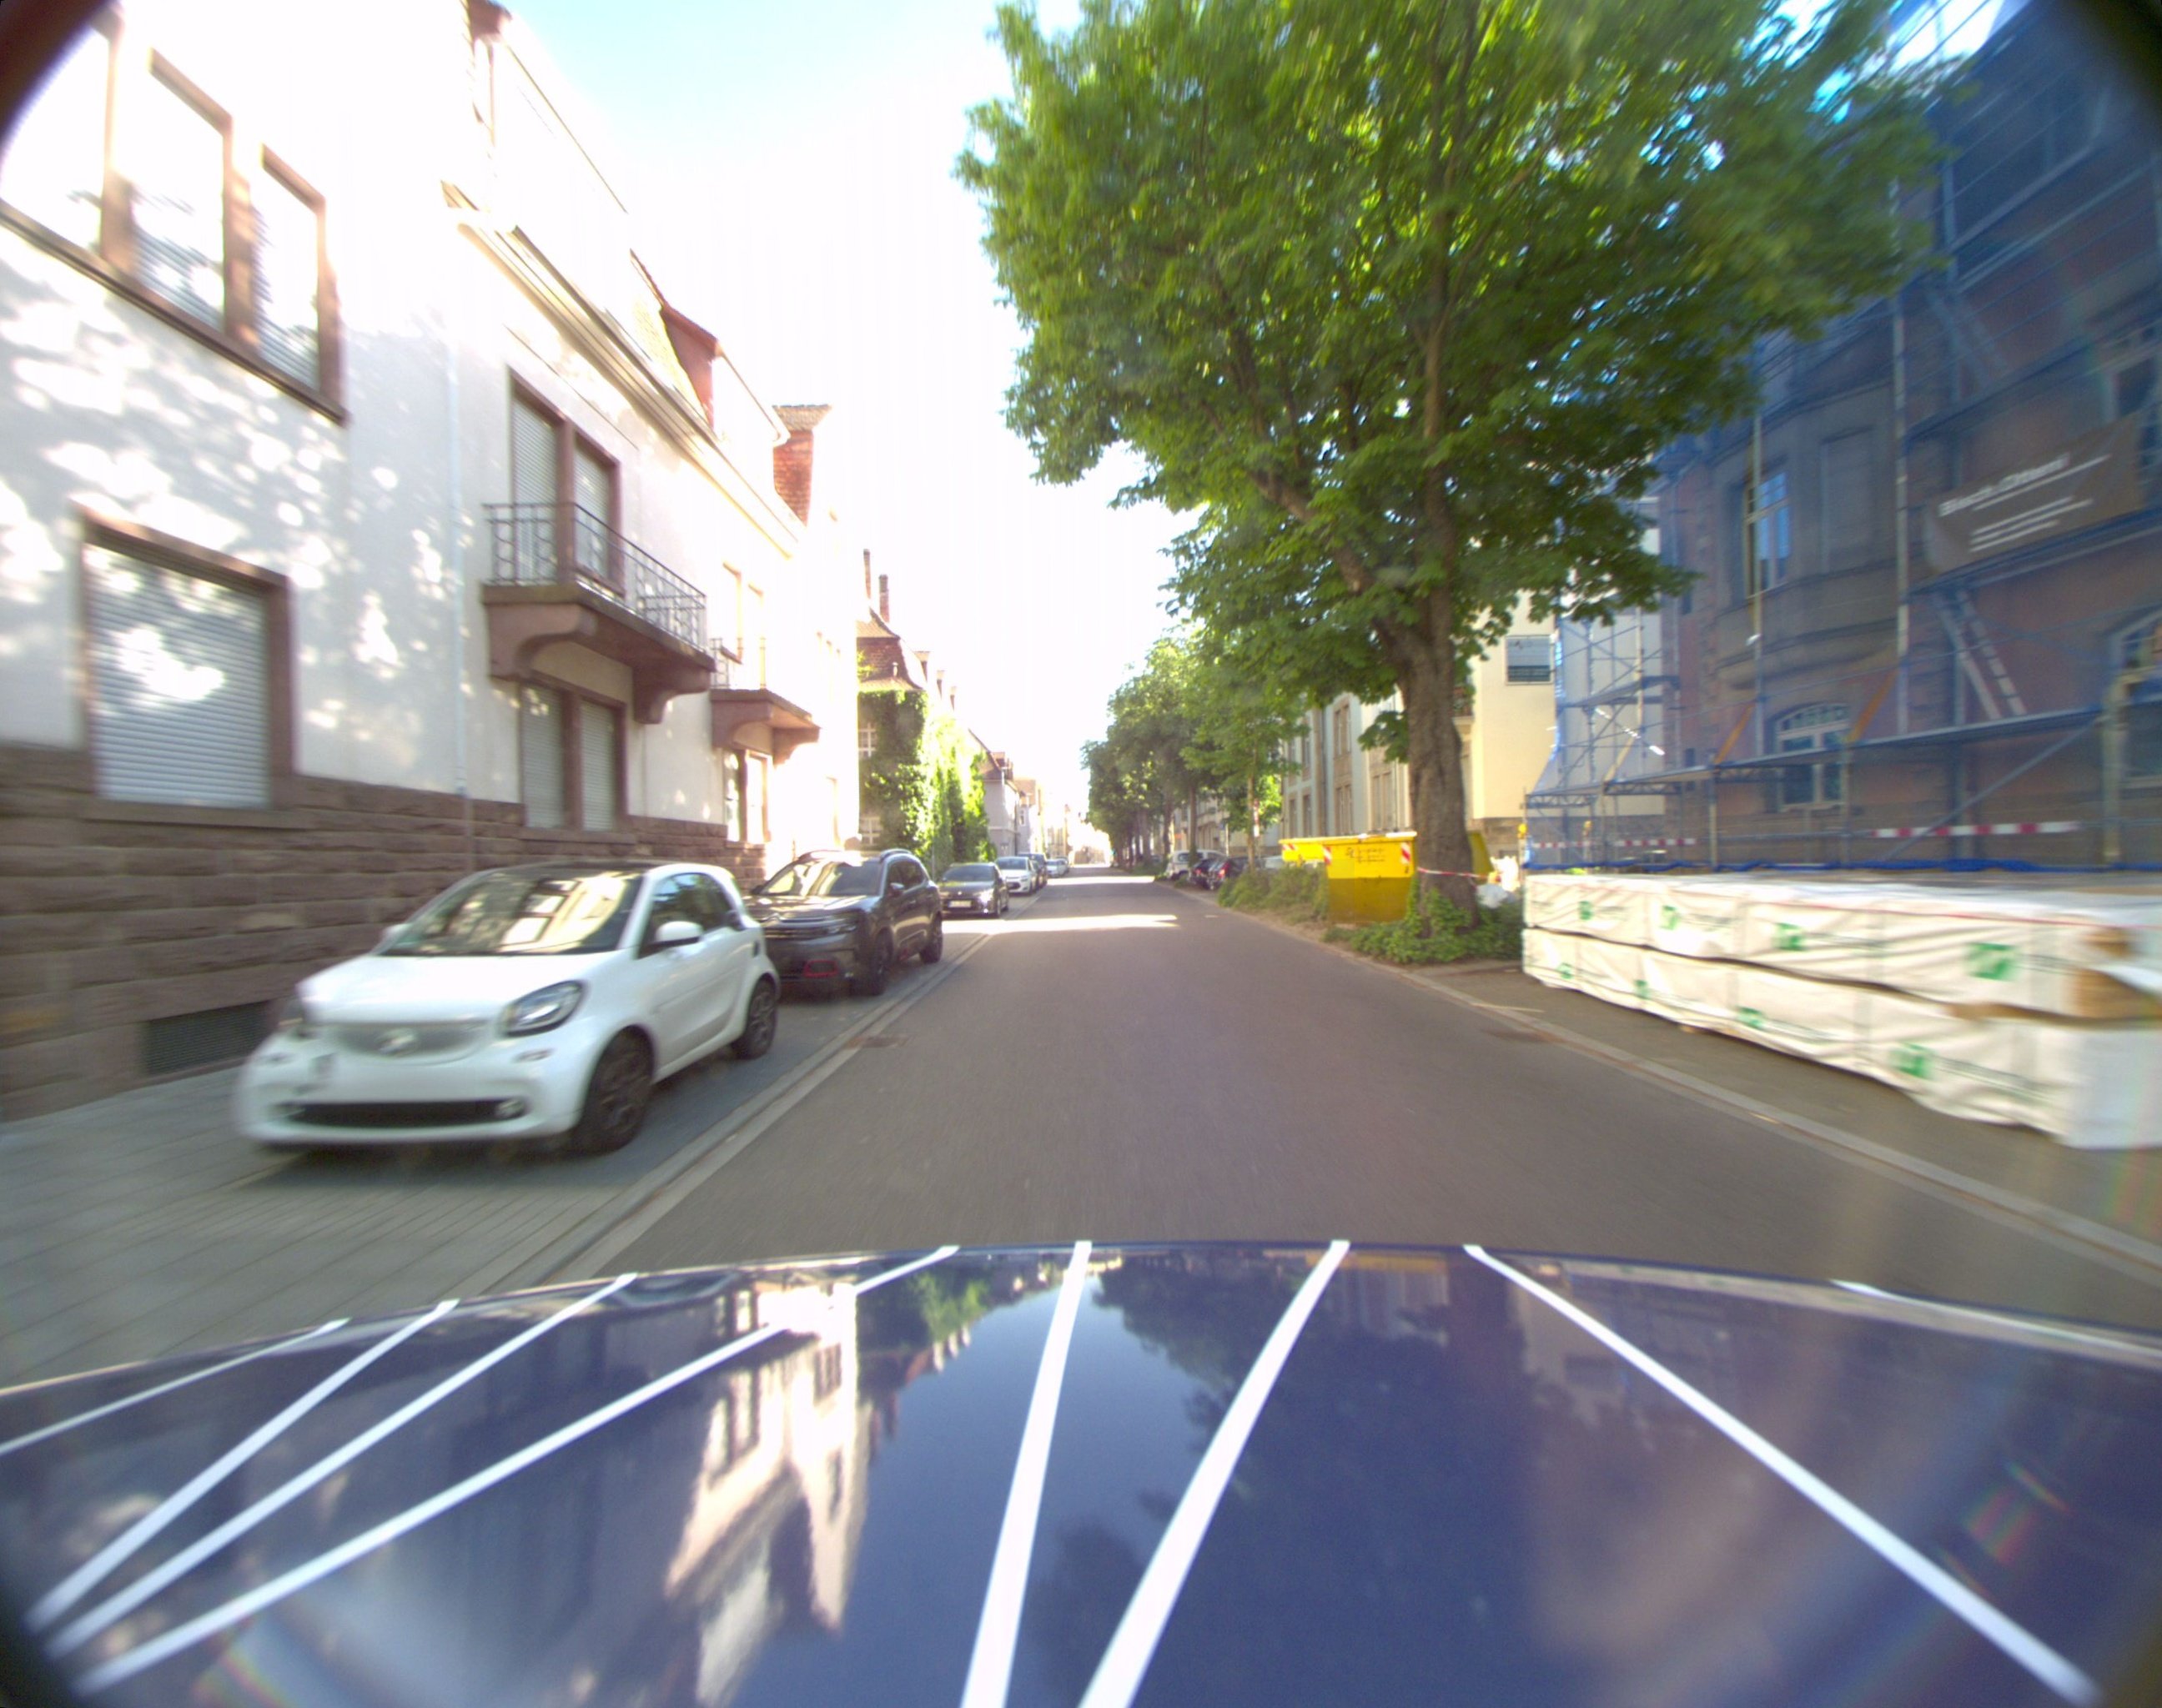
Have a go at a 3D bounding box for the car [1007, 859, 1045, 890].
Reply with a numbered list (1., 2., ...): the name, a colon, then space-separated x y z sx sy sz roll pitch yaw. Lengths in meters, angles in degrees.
1. car: -2.727 0.996 38.467 1.641 1.413 4.008 -1 0 0

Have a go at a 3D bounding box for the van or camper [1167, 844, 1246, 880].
1. van or camper: 6.821 0.454 41.460 3.954 1.763 1.809 -2 -1 0

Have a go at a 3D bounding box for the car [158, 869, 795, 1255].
1. car: -3.206 0.955 4.800 1.629 1.540 2.868 -3 1 0

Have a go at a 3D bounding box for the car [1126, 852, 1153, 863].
1. car: 7.879 0.416 102.389 3.496 1.421 1.542 -1 0 0

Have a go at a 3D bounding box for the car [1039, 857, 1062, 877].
1. car: -2.552 1.057 64.103 1.814 1.546 4.106 -2 0 0

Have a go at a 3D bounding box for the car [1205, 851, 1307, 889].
1. car: 6.967 0.629 30.491 3.757 1.422 1.646 -1 0 1

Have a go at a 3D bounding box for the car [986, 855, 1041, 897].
1. car: -2.790 0.874 32.194 1.872 1.635 4.199 -1 0 1

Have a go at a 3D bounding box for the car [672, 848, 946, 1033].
1. car: -3.083 0.843 9.715 1.782 1.686 4.319 -3 1 1

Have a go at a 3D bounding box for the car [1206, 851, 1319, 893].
1. car: 6.544 0.640 27.736 3.735 1.456 1.715 0 0 1

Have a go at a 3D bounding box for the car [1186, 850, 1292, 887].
1. car: 6.759 0.600 32.797 4.150 1.393 1.710 -2 0 0

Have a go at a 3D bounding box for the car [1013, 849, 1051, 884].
1. car: -2.821 0.700 44.728 1.857 1.898 4.851 -1 0 0

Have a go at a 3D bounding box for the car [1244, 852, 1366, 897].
1. car: 7.392 0.655 25.296 3.558 1.440 1.695 0 0 1

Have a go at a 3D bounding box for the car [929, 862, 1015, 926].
1. car: -2.852 0.990 20.758 1.648 1.445 4.502 -2 0 0

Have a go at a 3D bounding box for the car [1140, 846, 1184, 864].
1. car: 7.601 0.062 71.360 3.995 1.424 1.804 -3 1 8

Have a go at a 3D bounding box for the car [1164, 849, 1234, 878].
1. car: 6.710 0.554 43.456 3.734 1.507 1.722 -2 0 -1
